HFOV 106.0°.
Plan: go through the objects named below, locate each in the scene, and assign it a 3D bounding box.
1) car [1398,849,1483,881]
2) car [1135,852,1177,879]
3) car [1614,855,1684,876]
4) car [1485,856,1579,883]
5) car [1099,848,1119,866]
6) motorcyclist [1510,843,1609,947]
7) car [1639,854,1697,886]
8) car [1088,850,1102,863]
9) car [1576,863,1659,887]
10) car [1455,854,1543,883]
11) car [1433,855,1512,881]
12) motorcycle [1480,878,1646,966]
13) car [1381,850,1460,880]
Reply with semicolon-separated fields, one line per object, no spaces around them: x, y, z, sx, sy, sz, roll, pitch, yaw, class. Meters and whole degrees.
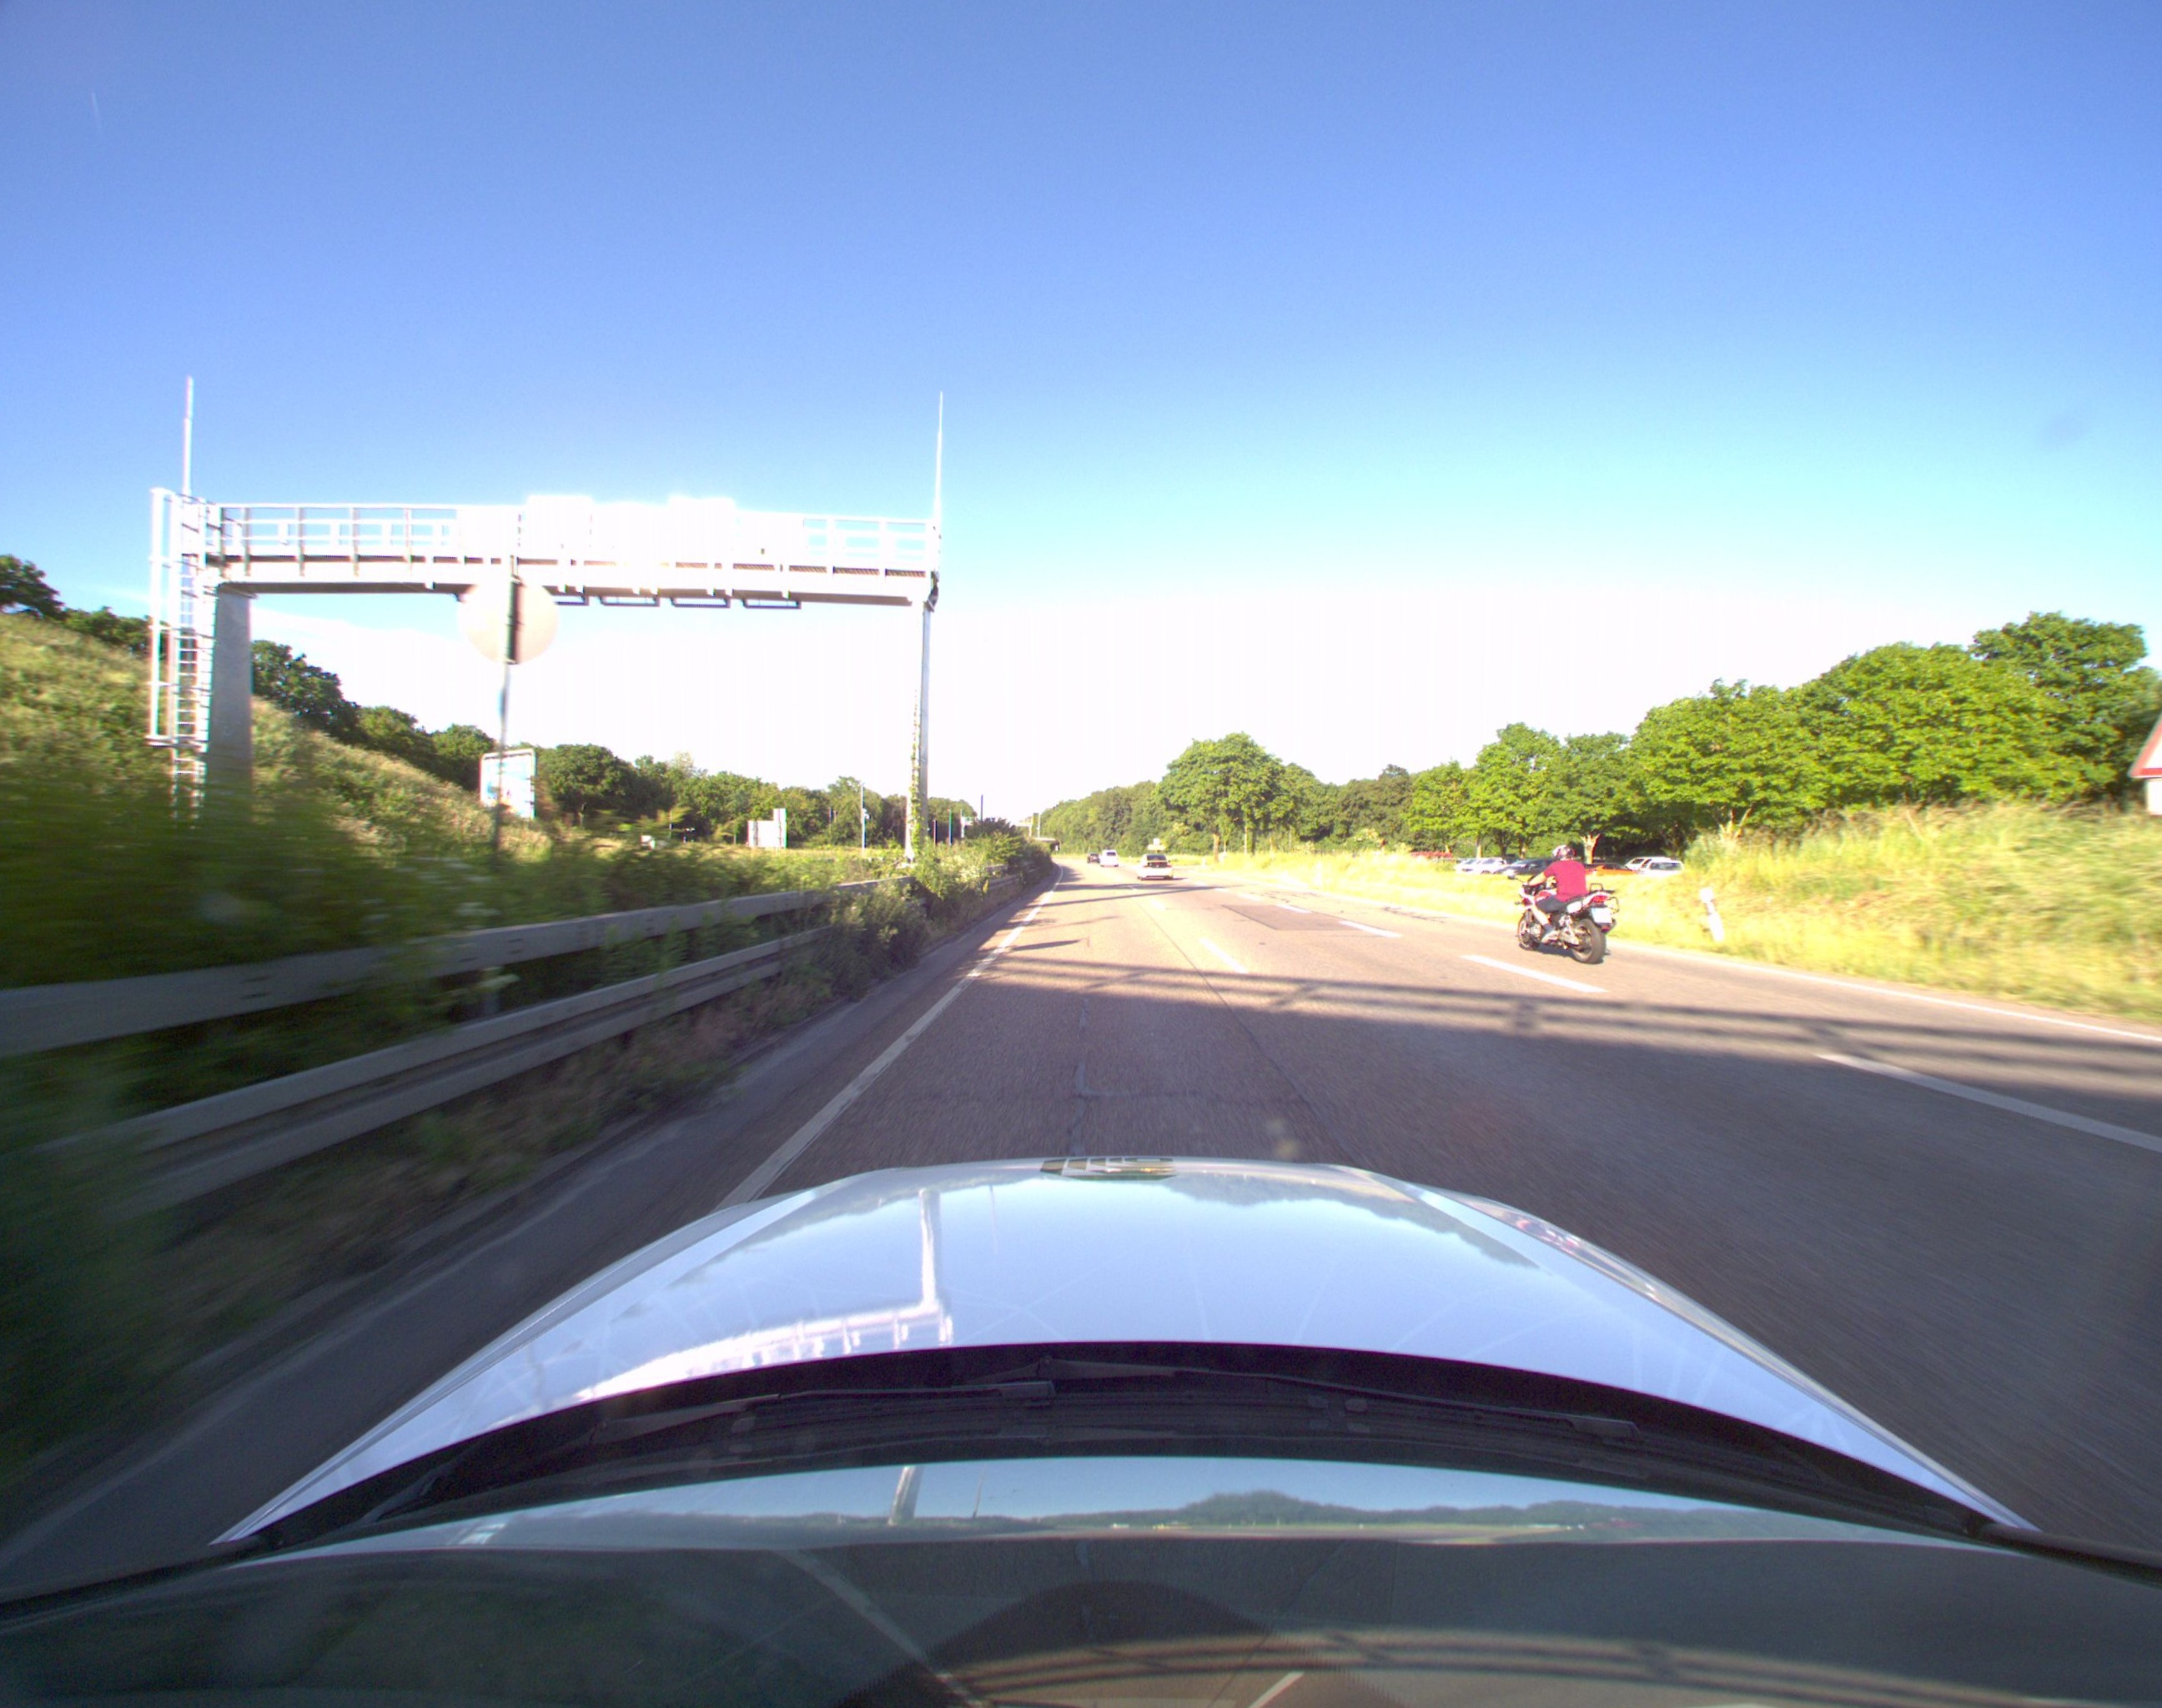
24.008;0.769;54.465;4.780;2.024;2.023;1;-3;-5;car
4.193;0.611;46.245;1.892;1.471;3.997;0;0;-2;car
51.841;1.034;74.404;5.178;1.866;1.955;0;-1;-3;car
23.981;0.832;43.364;3.979;1.307;1.921;1;-3;-4;car
3.046;0.342;88.982;1.892;1.767;3.996;0;-2;-2;car
6.959;0.579;11.901;0.814;1.447;1.094;0;0;1;motorcyclist
26.703;0.750;36.988;1.966;1.307;4.024;-2;-4;37;car
2.062;0.370;119.462;1.890;1.767;4.001;0;0;1;car
34.686;1.356;52.706;4.102;1.424;2.019;1;-3;-5;car
23.757;0.853;46.384;4.102;1.559;1.921;1;-3;-5;car
23.569;0.878;49.112;3.924;1.460;1.921;1;-3;-5;car
6.973;0.922;12.027;0.814;1.069;2.836;0;0;1;motorcycle
23.885;0.790;57.355;4.780;2.024;2.023;1;-3;-5;car
